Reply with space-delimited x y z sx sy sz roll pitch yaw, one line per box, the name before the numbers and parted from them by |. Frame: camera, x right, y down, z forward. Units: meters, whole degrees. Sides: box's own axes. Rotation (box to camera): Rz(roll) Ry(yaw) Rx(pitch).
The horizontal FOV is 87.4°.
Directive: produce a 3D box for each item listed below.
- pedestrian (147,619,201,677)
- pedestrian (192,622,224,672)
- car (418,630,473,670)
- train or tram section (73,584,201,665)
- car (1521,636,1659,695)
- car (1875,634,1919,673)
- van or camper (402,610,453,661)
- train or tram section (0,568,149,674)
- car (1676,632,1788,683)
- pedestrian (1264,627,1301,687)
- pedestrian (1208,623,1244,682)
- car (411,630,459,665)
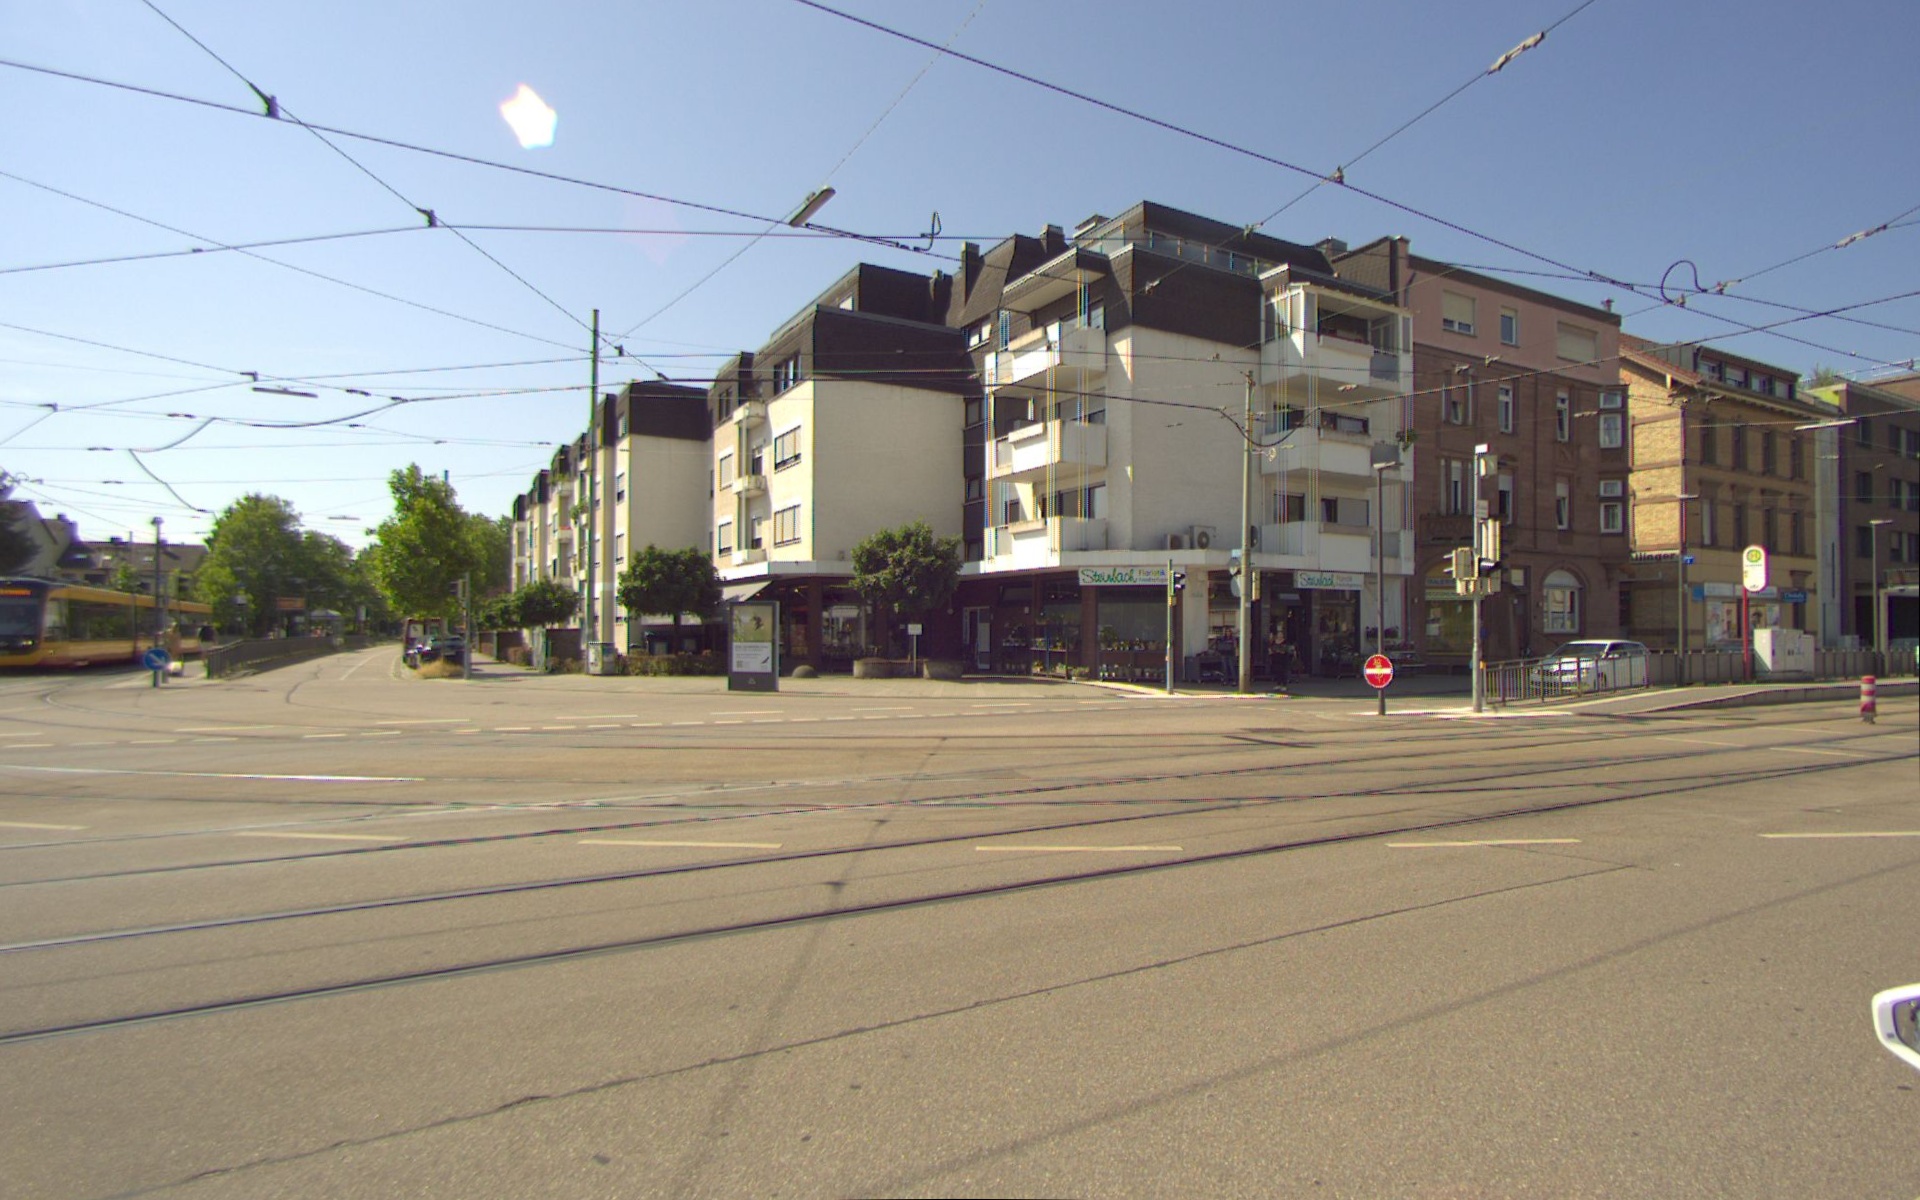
pedestrian | -25.958 1.574 33.223 1.108 1.860 1.429 1 -2 -27
pedestrian | -27.485 1.706 36.717 0.753 1.783 0.807 1 -2 -24
car | -20.758 1.987 40.453 1.806 1.520 4.154 1 -2 -30
train or tram section | -43.062 1.369 53.092 2.735 3.706 13.804 1 -2 -29
car | 17.106 1.734 27.233 3.918 1.450 1.617 1 -1 -31
car | 37.390 2.048 39.152 3.695 1.478 1.565 1 -2 -31
van or camper | -29.513 1.977 55.613 2.348 2.659 4.853 1 -2 -30
train or tram section | -36.382 0.953 41.001 2.735 3.706 13.804 1 -2 -29
car | 23.831 1.747 30.978 3.773 1.478 1.564 1 -2 -33
pedestrian | 9.010 1.584 28.069 0.865 1.669 0.679 -1 -2 30
pedestrian | 7.609 1.487 28.753 0.724 1.669 0.675 1 -2 -30
car | -23.970 2.129 45.821 1.806 1.520 3.969 1 -2 -30
